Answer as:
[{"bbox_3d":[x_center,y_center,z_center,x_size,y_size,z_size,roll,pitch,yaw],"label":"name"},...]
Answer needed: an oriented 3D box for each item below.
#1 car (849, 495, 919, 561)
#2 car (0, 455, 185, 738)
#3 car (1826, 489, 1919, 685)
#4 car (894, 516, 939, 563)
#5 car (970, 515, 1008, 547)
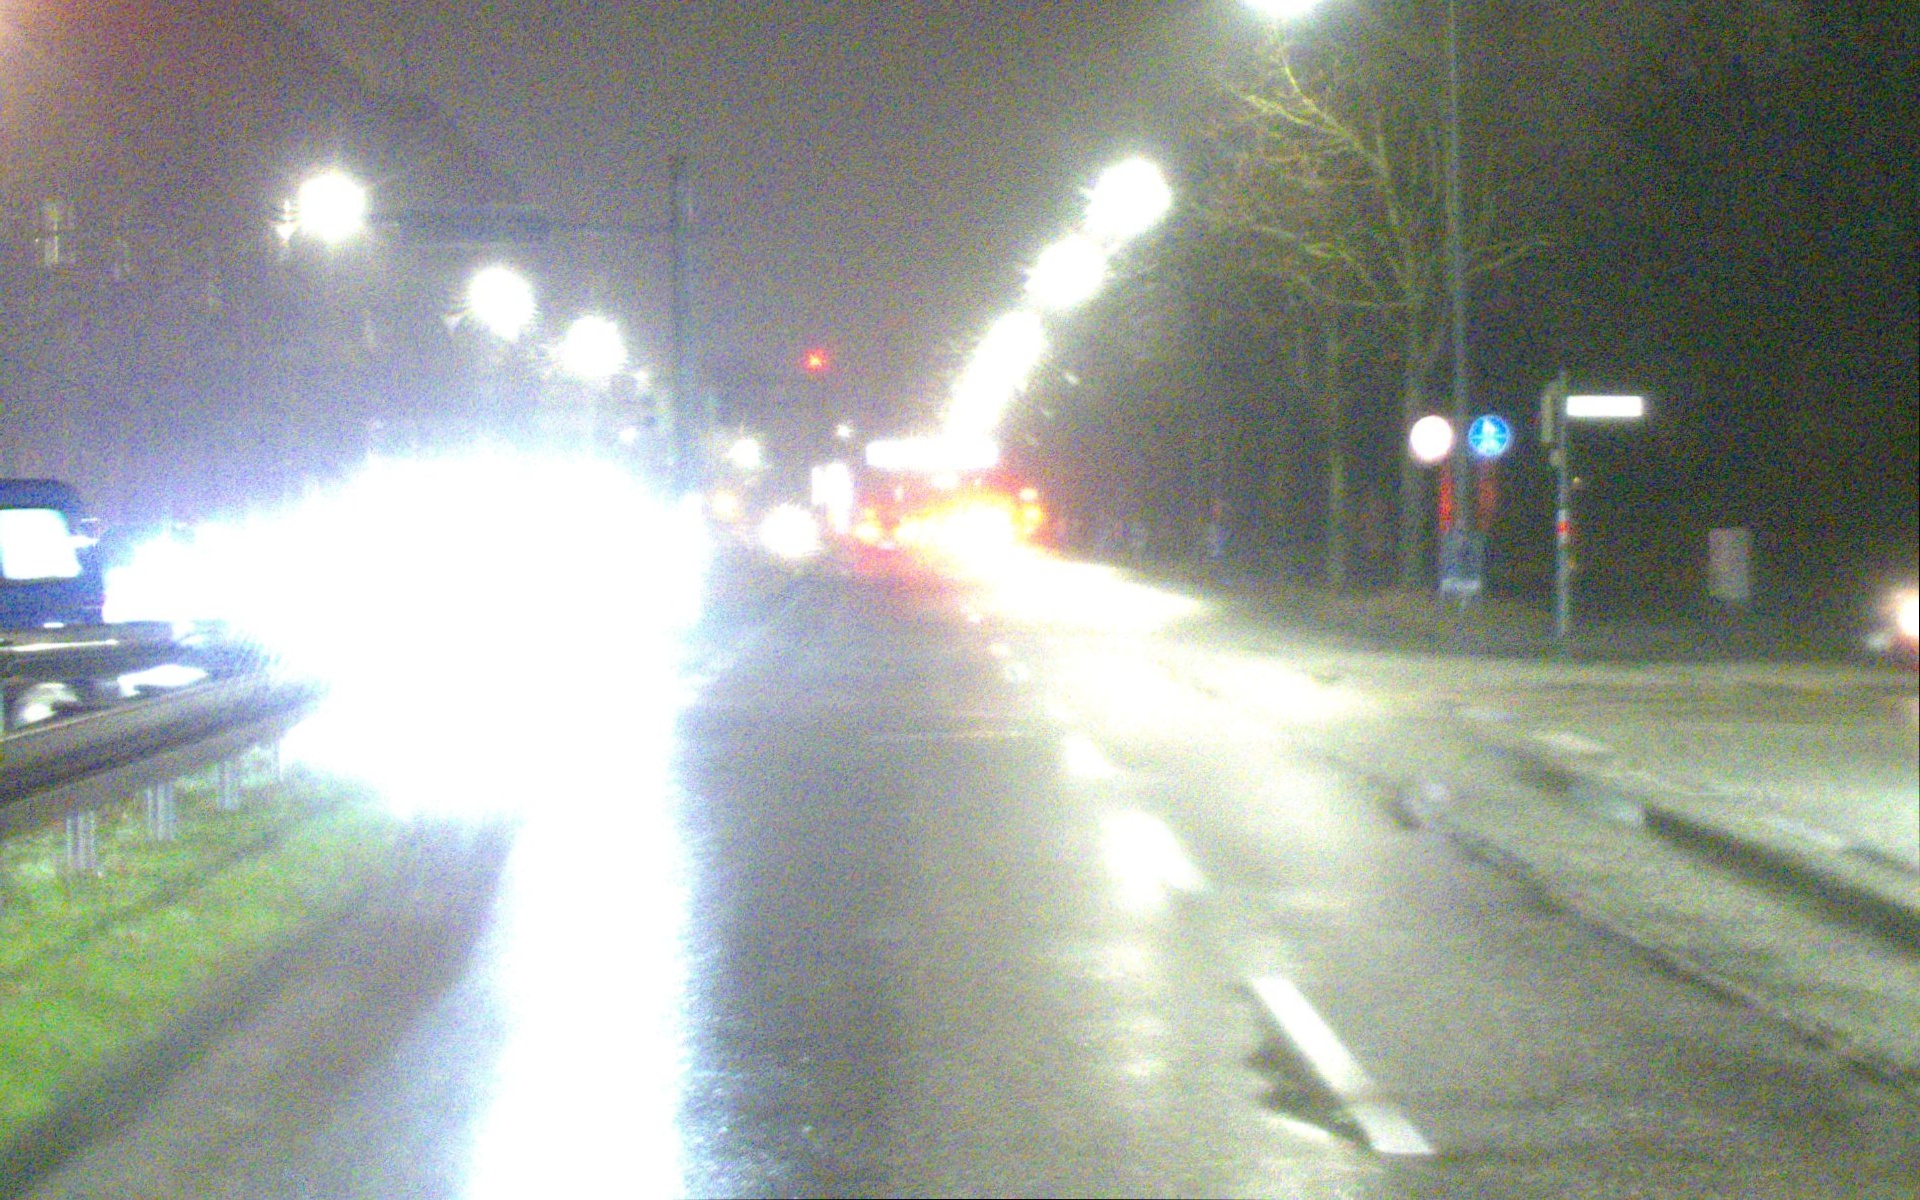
[{"bbox_3d":[-2.441,-2.254,108.888,1.993,2.007,4.633,1,1,-4],"label":"car"},{"bbox_3d":[-7.207,-0.040,21.151,1.858,1.743,4.495,1,1,42],"label":"car"},{"bbox_3d":[9.567,-0.049,28.874,4.068,1.582,1.912,2,0,1],"label":"car"},{"bbox_3d":[-1.803,-2.465,140.764,1.791,1.868,4.627,1,1,-1],"label":"car"},{"bbox_3d":[1.624,-3.882,193.236,1.993,1.753,4.000,1,1,-1],"label":"car"}]
